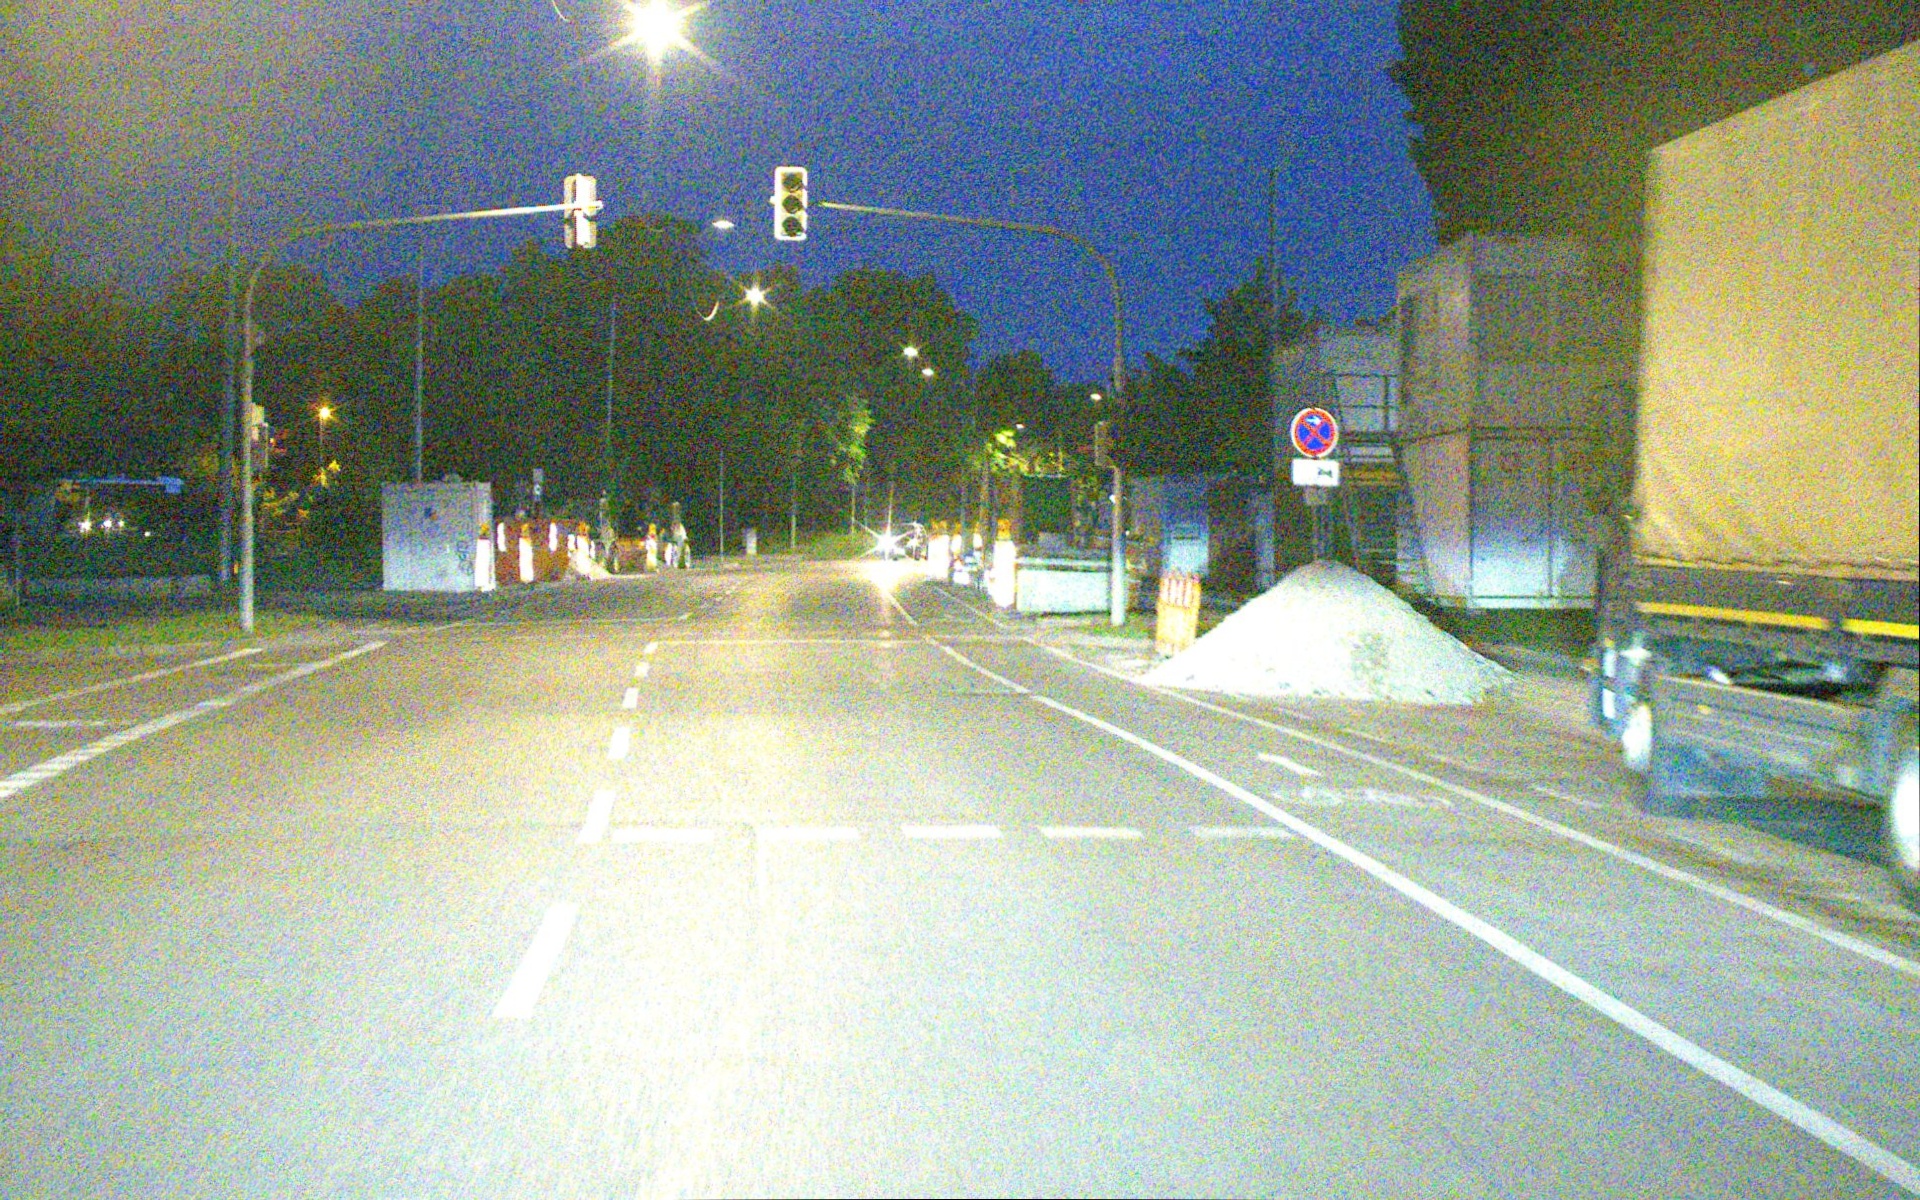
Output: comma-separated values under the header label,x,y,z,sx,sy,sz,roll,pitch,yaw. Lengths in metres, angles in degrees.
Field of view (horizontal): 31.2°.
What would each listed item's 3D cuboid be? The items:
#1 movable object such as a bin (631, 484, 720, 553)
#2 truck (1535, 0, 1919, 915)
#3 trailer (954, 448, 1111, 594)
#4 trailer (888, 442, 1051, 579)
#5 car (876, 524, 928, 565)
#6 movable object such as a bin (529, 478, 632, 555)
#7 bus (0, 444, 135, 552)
label,x,y,z,sx,sy,sz,roll,pitch,yaw
movable object such as a bin,-9.972,-2.850,120.894,1.994,2.368,4.700,0,1,10
truck,5.116,-0.662,15.772,2.755,3.770,10.227,0,1,-3
trailer,1.452,-1.609,71.323,2.613,2.836,4.710,2,1,-6
trailer,0.177,-2.192,85.610,3.480,3.208,4.866,2,1,-6
car,-2.366,-2.284,141.311,1.697,1.571,2.956,-2,2,7
movable object such as a bin,-11.933,-2.630,108.296,1.994,2.368,4.700,0,1,10
bus,-29.494,-3.096,104.306,3.014,3.193,12.664,1,2,15
